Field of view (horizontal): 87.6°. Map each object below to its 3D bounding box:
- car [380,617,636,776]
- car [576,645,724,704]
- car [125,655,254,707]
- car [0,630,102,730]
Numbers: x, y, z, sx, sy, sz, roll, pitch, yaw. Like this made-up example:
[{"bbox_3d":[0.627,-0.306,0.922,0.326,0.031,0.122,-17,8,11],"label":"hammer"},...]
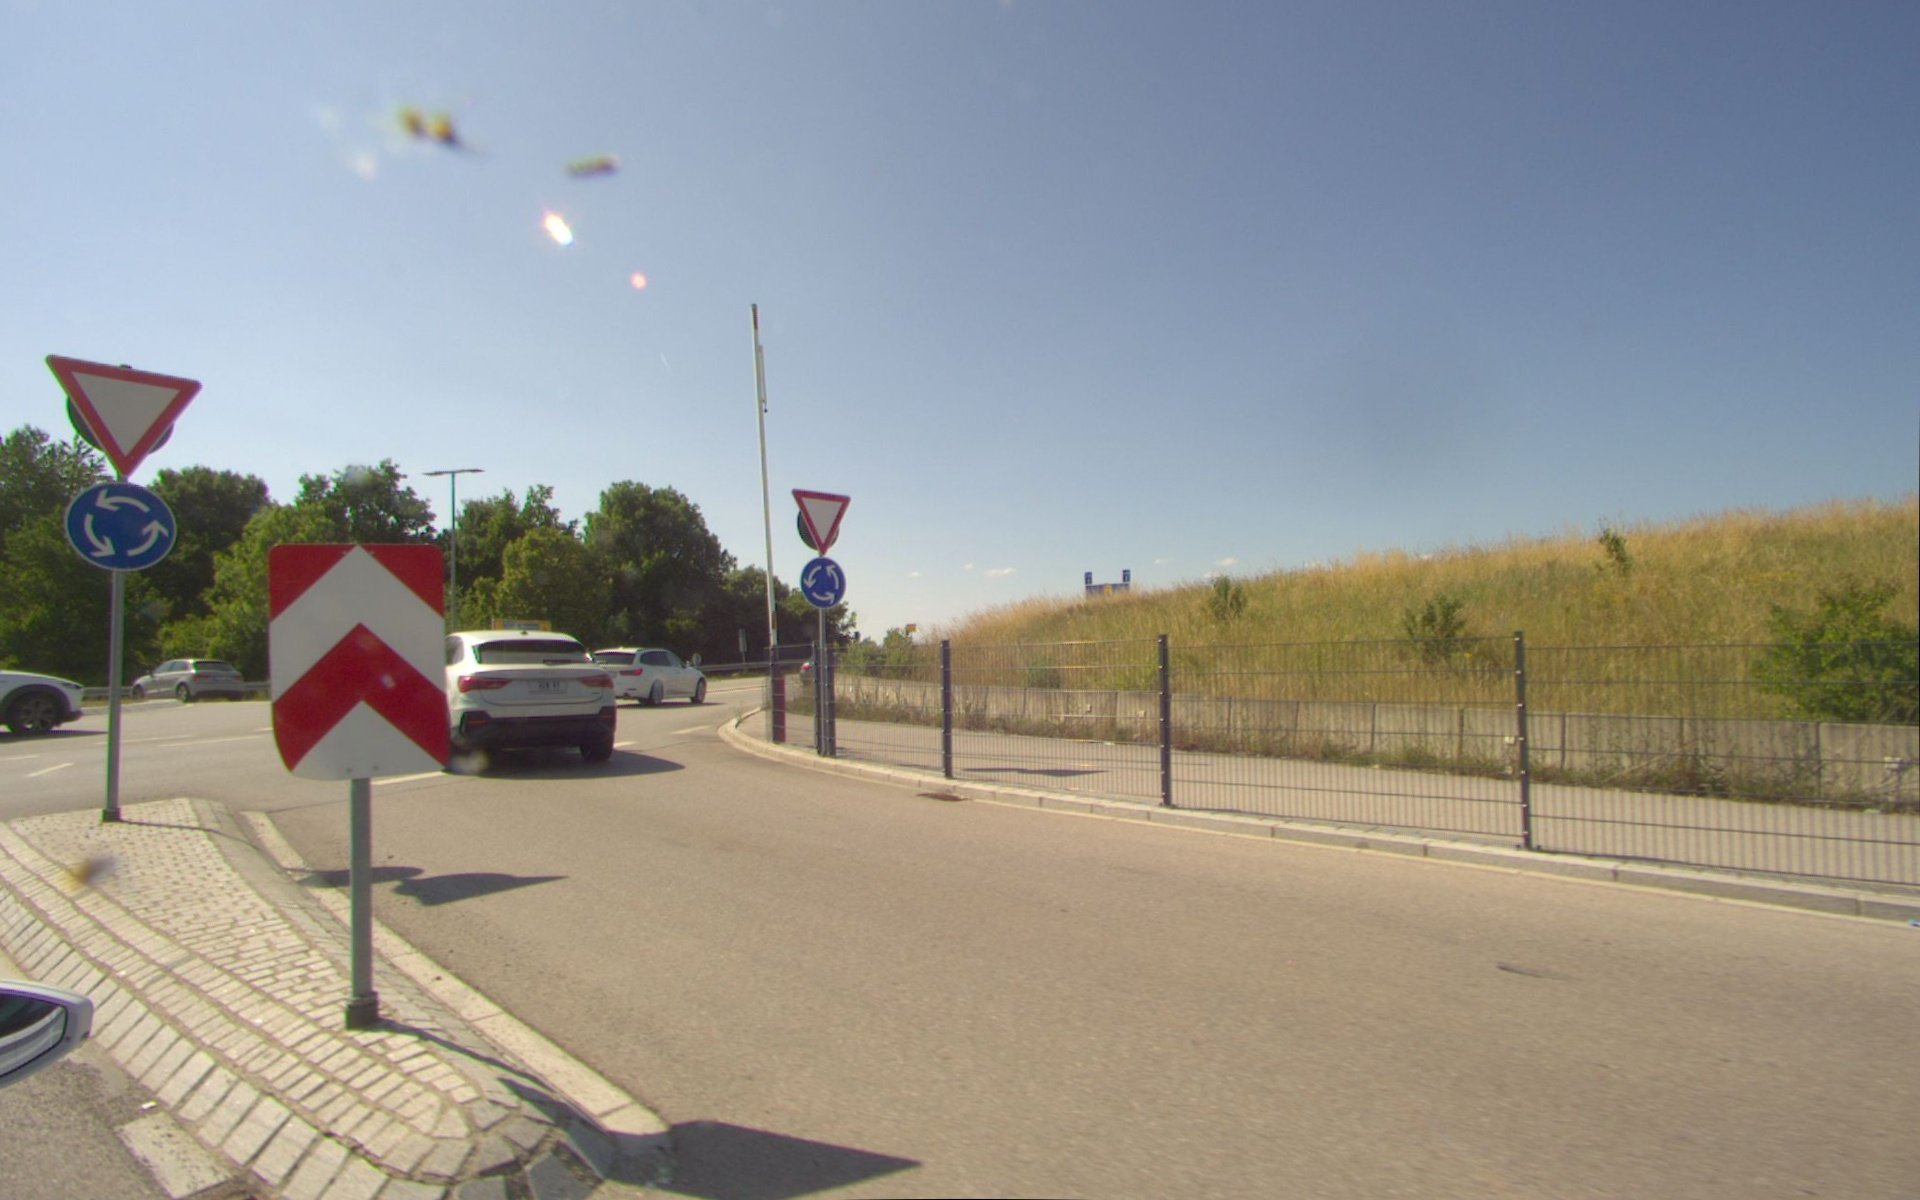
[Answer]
[{"bbox_3d":[-5.728,1.076,12.404,1.827,1.616,4.290,1,-3,-40],"label":"car"},{"bbox_3d":[-7.853,1.876,25.816,1.544,1.368,4.339,-1,-3,15],"label":"car"},{"bbox_3d":[-25.037,2.585,32.519,3.937,1.615,1.776,-2,-3,27],"label":"car"},{"bbox_3d":[-16.011,1.238,15.148,1.762,1.549,4.278,-2,-3,23],"label":"car"}]
